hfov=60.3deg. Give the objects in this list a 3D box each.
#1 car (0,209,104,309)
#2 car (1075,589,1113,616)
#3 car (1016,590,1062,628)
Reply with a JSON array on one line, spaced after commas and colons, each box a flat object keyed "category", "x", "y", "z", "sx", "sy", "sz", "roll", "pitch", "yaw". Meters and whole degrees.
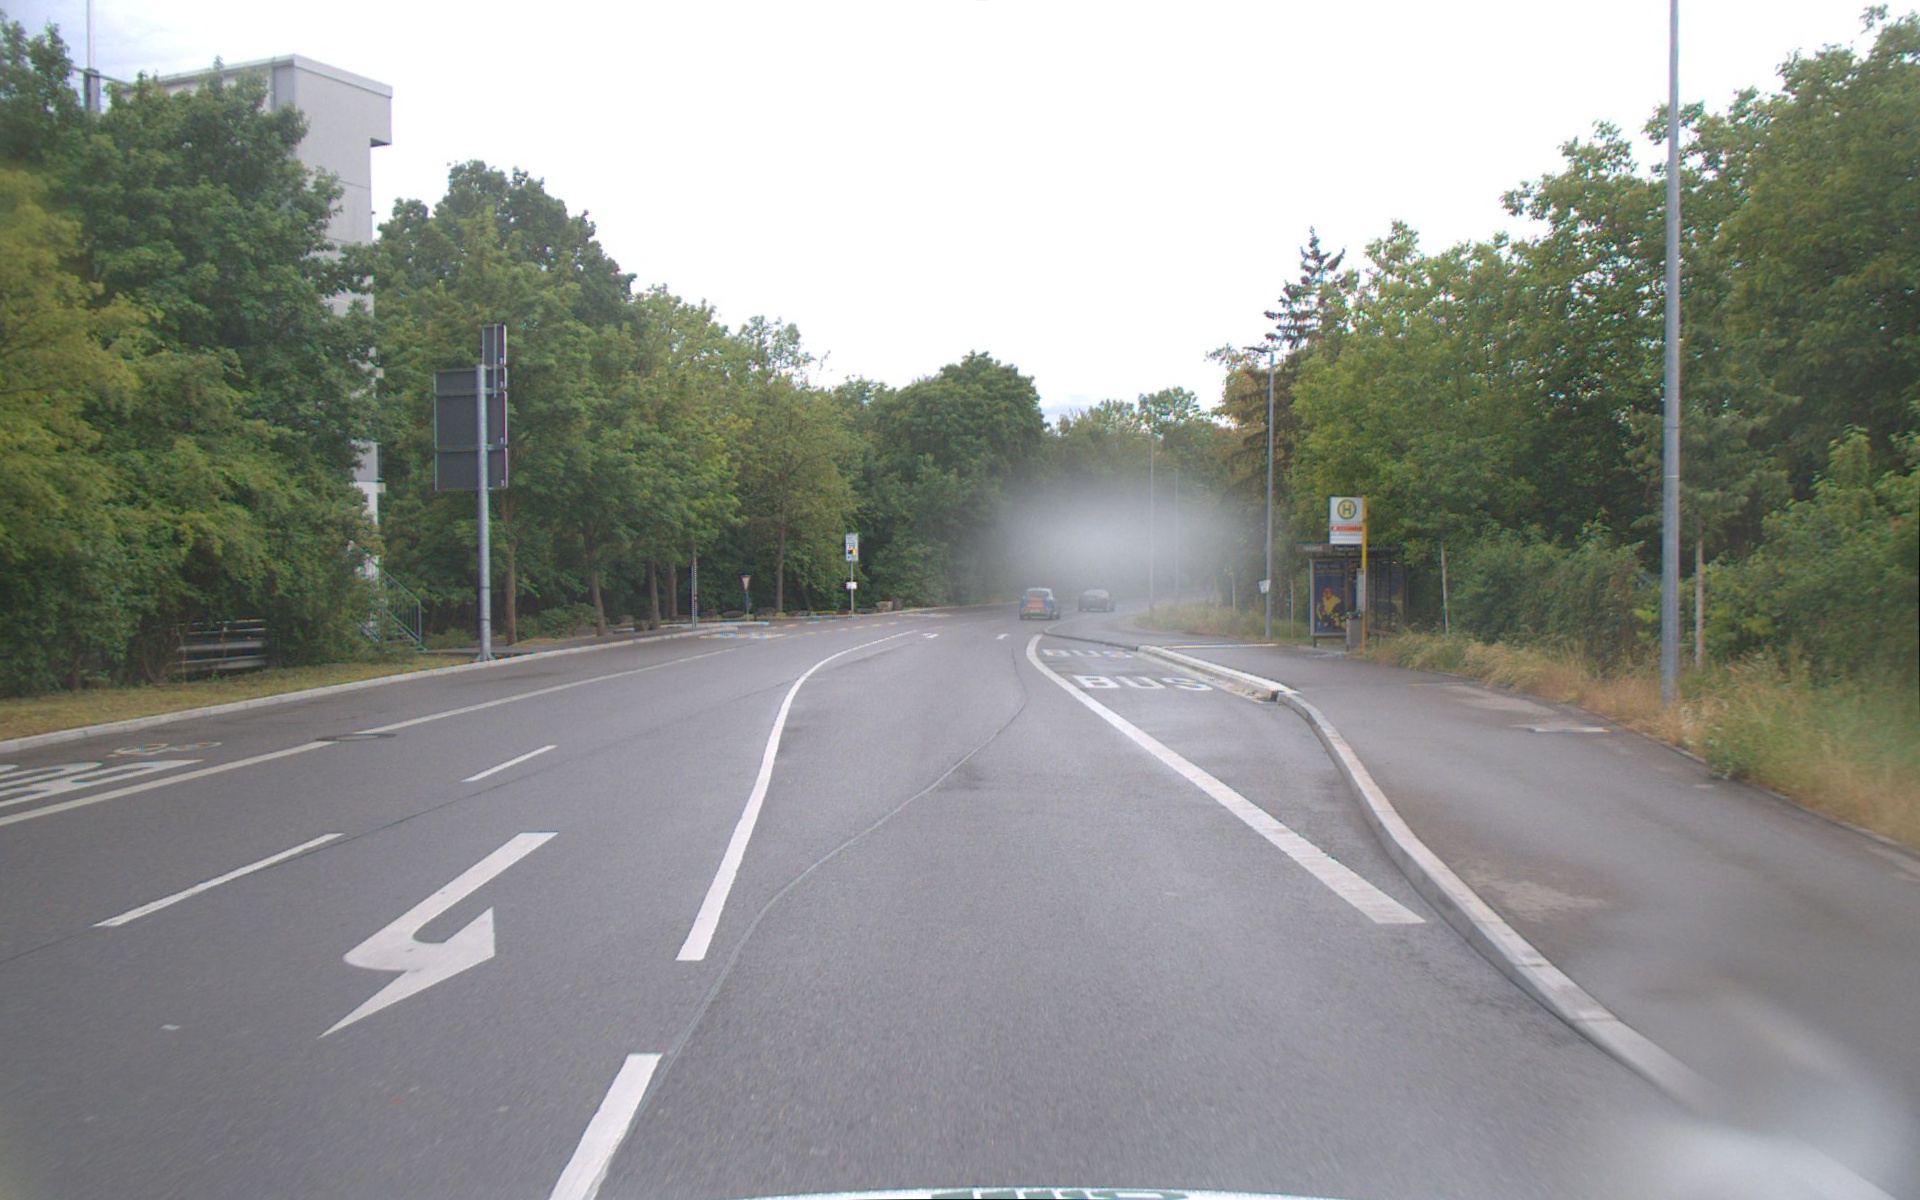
[{"category": "car", "x": -20.421, "y": -7.347, "z": 35.844, "sx": 3.167, "sy": 1.545, "sz": 1.586, "roll": -2, "pitch": 0, "yaw": 21}, {"category": "car", "x": 8.406, "y": 0.160, "z": 103.659, "sx": 1.886, "sy": 1.512, "sz": 3.803, "roll": -1, "pitch": 2, "yaw": 12}, {"category": "car", "x": 3.999, "y": 0.429, "z": 83.332, "sx": 1.951, "sy": 1.718, "sz": 4.004, "roll": -1, "pitch": 2, "yaw": 8}]
